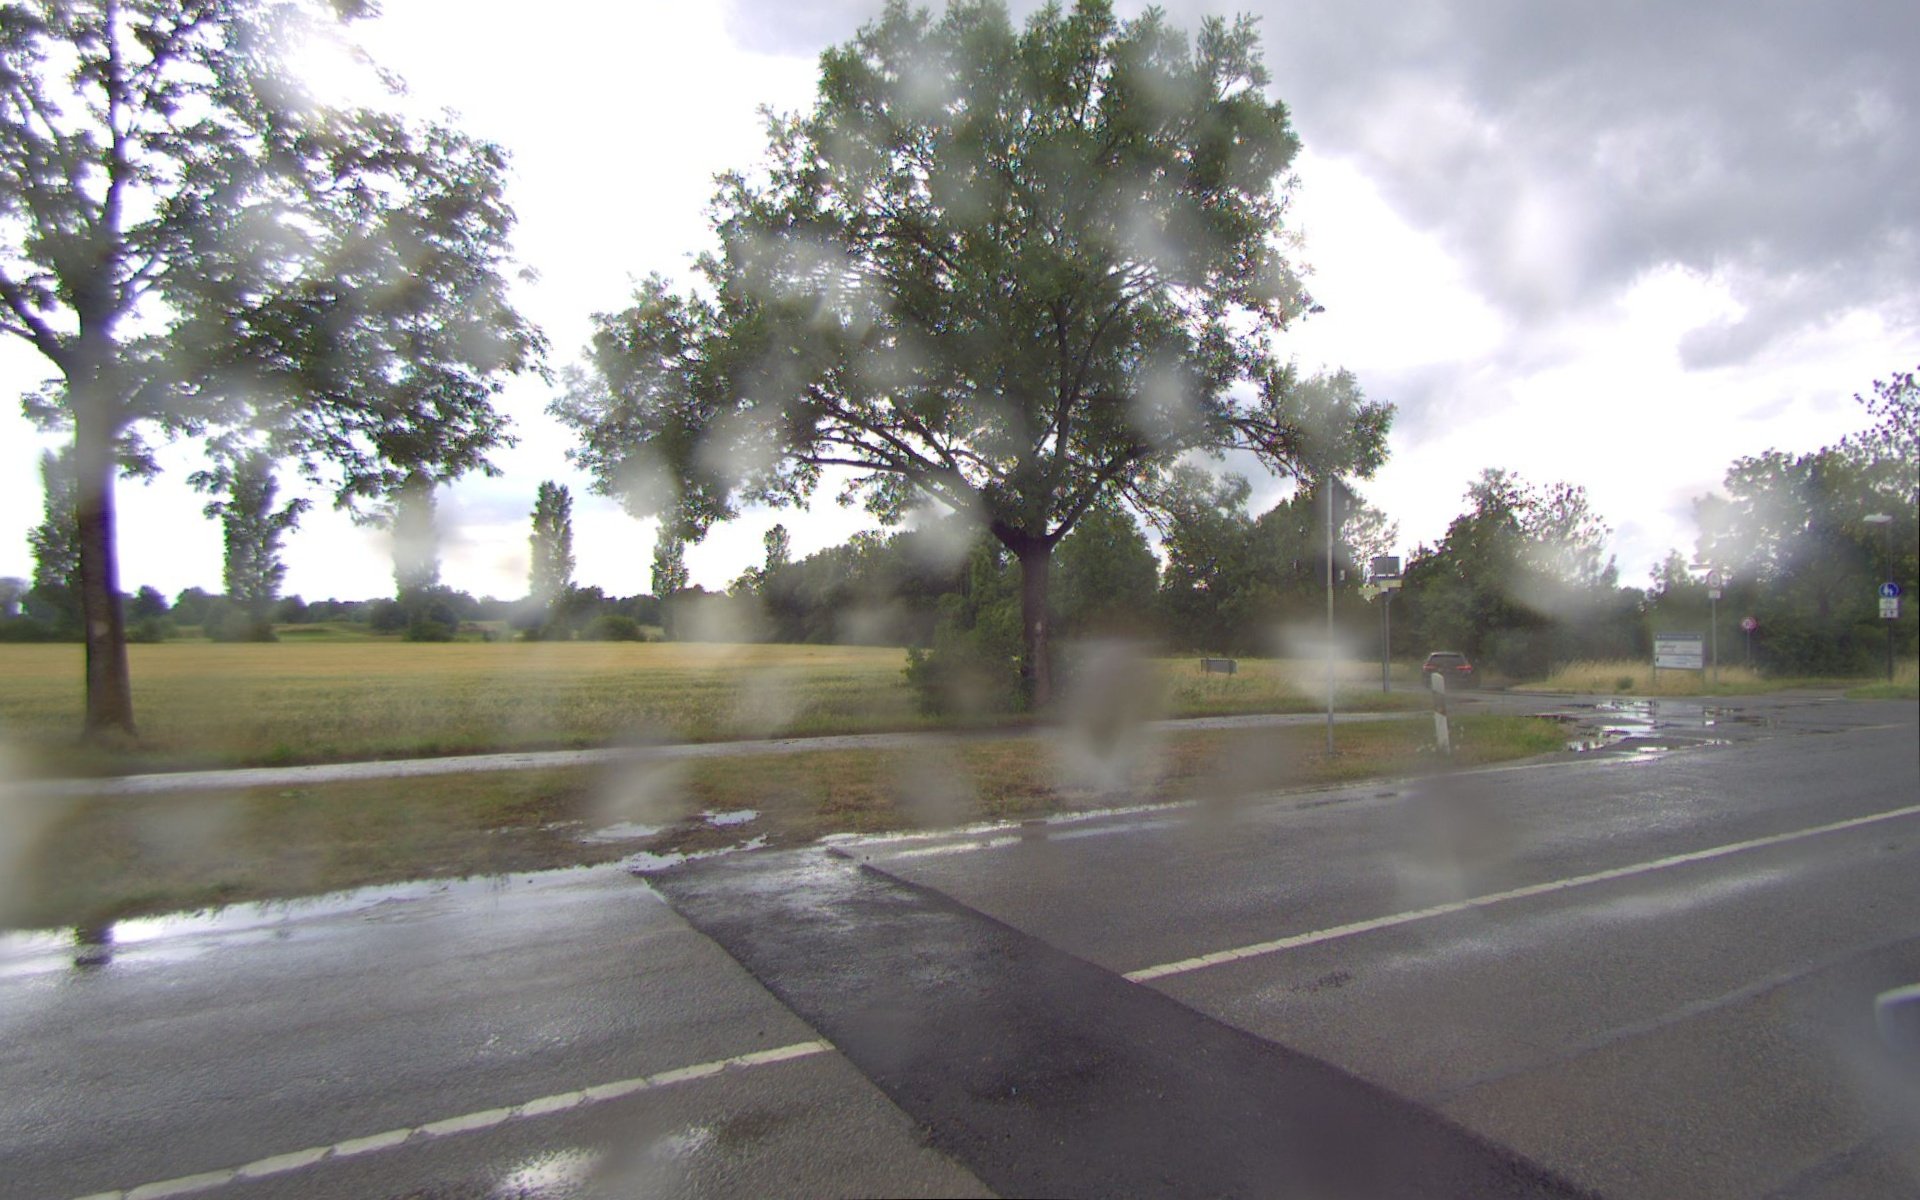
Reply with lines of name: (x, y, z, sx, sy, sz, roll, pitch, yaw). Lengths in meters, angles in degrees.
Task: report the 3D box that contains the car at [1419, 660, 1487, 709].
car: (19.661, 3.330, 40.241, 2.265, 1.568, 4.629, 2, 0, 25)
